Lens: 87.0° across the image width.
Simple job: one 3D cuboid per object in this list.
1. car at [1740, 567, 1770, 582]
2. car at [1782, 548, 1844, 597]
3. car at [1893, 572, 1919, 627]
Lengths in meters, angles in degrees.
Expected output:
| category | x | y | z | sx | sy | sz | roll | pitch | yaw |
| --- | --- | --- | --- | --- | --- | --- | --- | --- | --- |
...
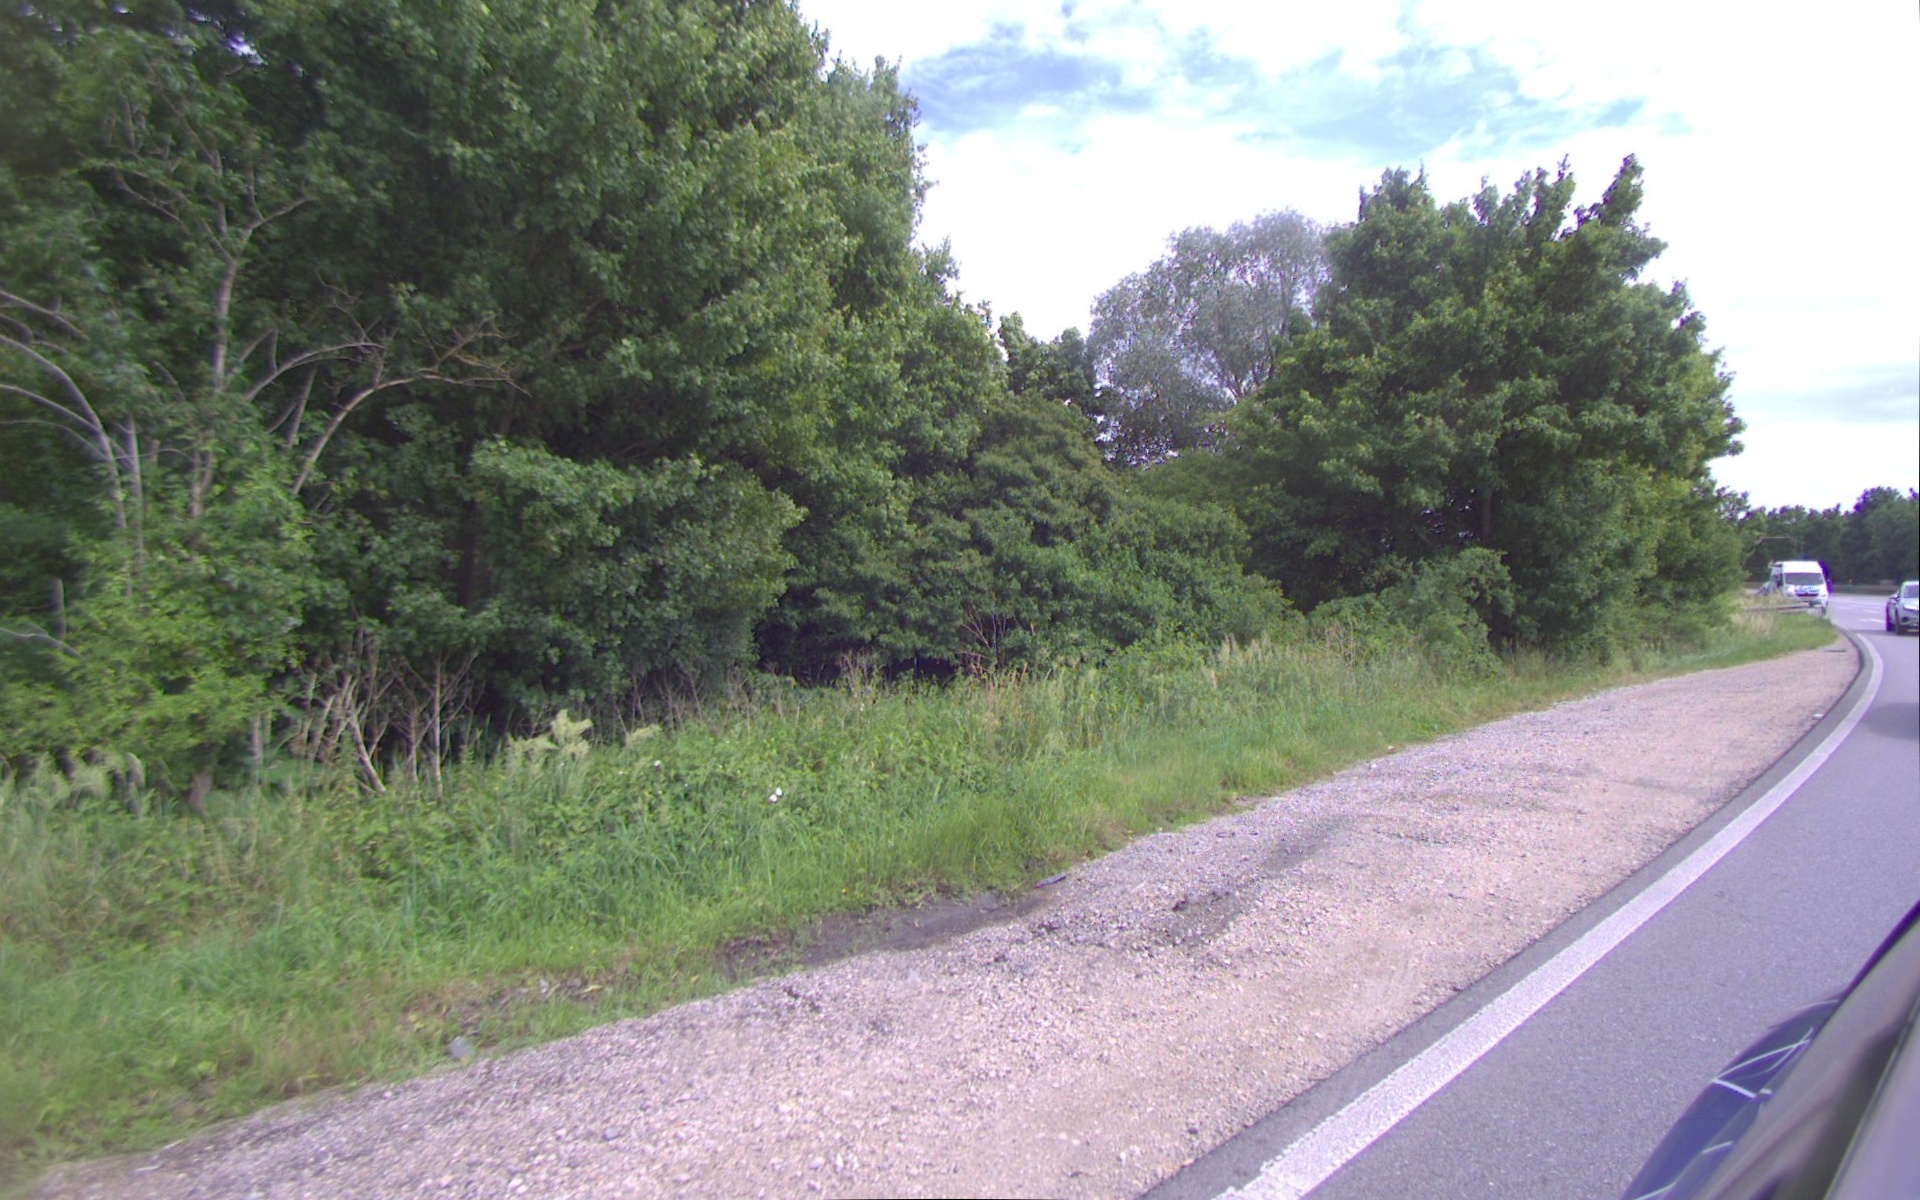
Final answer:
| category | x | y | z | sx | sy | sz | roll | pitch | yaw |
| --- | --- | --- | --- | --- | --- | --- | --- | --- | --- |
| car | 84.846 | -2.666 | 108.026 | 1.719 | 1.537 | 3.962 | -1 | 1 | 28 |
| car | 49.716 | -1.533 | 59.067 | 2.206 | 2.704 | 5.173 | -2 | -1 | 35 |
| car | 30.095 | -0.046 | 30.821 | 2.010 | 1.633 | 4.224 | 0 | 1 | 36 |
